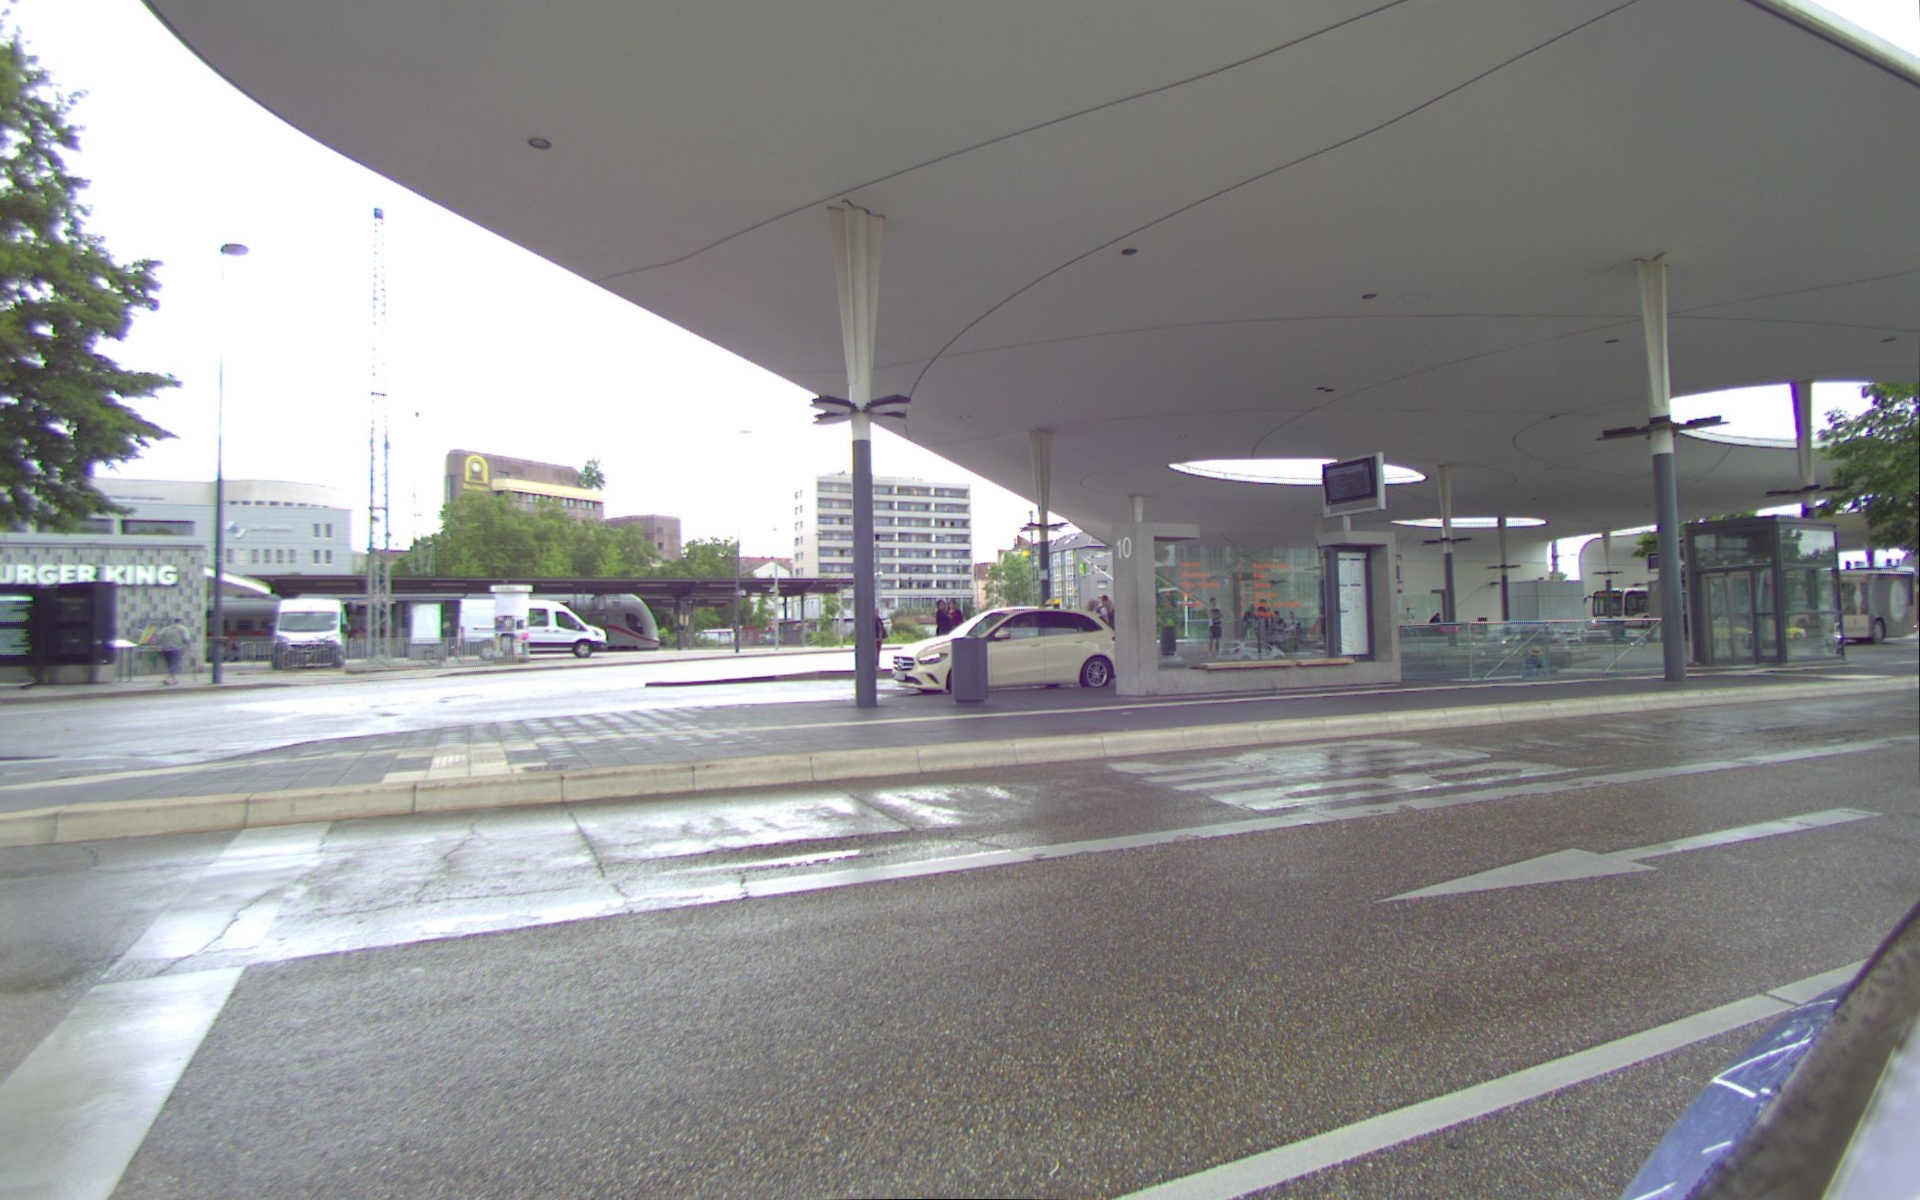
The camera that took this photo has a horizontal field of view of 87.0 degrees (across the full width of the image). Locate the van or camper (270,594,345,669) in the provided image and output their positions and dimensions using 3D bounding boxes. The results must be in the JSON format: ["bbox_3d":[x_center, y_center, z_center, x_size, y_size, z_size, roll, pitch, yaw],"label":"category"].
[{"bbox_3d":[-23.685,1.047,36.888,2.123,2.464,5.868,-1,0,-32],"label":"van or camper"}]

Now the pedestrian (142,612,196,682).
[{"bbox_3d":[-18.022,1.058,23.055,0.633,1.549,0.830,-1,0,35],"label":"pedestrian"}]

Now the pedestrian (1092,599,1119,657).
[{"bbox_3d":[3.905,0.735,27.205,0.524,1.533,0.480,0,-1,-22],"label":"pedestrian"}]

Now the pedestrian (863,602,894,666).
[{"bbox_3d":[-2.130,0.869,26.297,0.725,1.615,0.643,-1,0,-11],"label":"pedestrian"}]

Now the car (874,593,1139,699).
[{"bbox_3d":[0.864,0.754,18.652,4.448,1.702,2.003,-1,0,-25],"label":"car"}]

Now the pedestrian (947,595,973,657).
[{"bbox_3d":[-0.003,0.640,25.466,0.469,1.533,0.536,0,-1,-21],"label":"pedestrian"}]

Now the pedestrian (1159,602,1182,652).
[{"bbox_3d":[6.498,0.837,31.265,0.514,1.533,0.480,0,-1,-22],"label":"pedestrian"}]

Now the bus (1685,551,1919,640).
[{"bbox_3d":[33.121,-0.145,39.204,11.675,3.121,2.883,0,0,-25],"label":"bus"}]

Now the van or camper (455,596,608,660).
[{"bbox_3d":[-17.896,1.117,42.377,5.743,2.464,2.003,-1,0,-25],"label":"van or camper"}]

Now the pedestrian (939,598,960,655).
[{"bbox_3d":[-0.273,0.721,27.439,0.471,1.533,0.533,-1,-1,9],"label":"pedestrian"}]

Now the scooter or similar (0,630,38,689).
[{"bbox_3d":[-20.083,1.254,21.056,0.331,1.197,1.290,-1,0,31],"label":"scooter or similar"}]

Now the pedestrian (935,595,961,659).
[{"bbox_3d":[-0.302,0.649,24.733,0.469,1.533,0.536,0,-1,-21],"label":"pedestrian"}]

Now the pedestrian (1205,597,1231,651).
[{"bbox_3d":[7.369,0.680,28.915,0.524,1.533,0.480,0,-1,-22],"label":"pedestrian"}]

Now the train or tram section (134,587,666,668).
[{"bbox_3d":[-33.900,1.429,64.466,28.705,4.234,4.613,-1,0,-26],"label":"train or tram section"}]
